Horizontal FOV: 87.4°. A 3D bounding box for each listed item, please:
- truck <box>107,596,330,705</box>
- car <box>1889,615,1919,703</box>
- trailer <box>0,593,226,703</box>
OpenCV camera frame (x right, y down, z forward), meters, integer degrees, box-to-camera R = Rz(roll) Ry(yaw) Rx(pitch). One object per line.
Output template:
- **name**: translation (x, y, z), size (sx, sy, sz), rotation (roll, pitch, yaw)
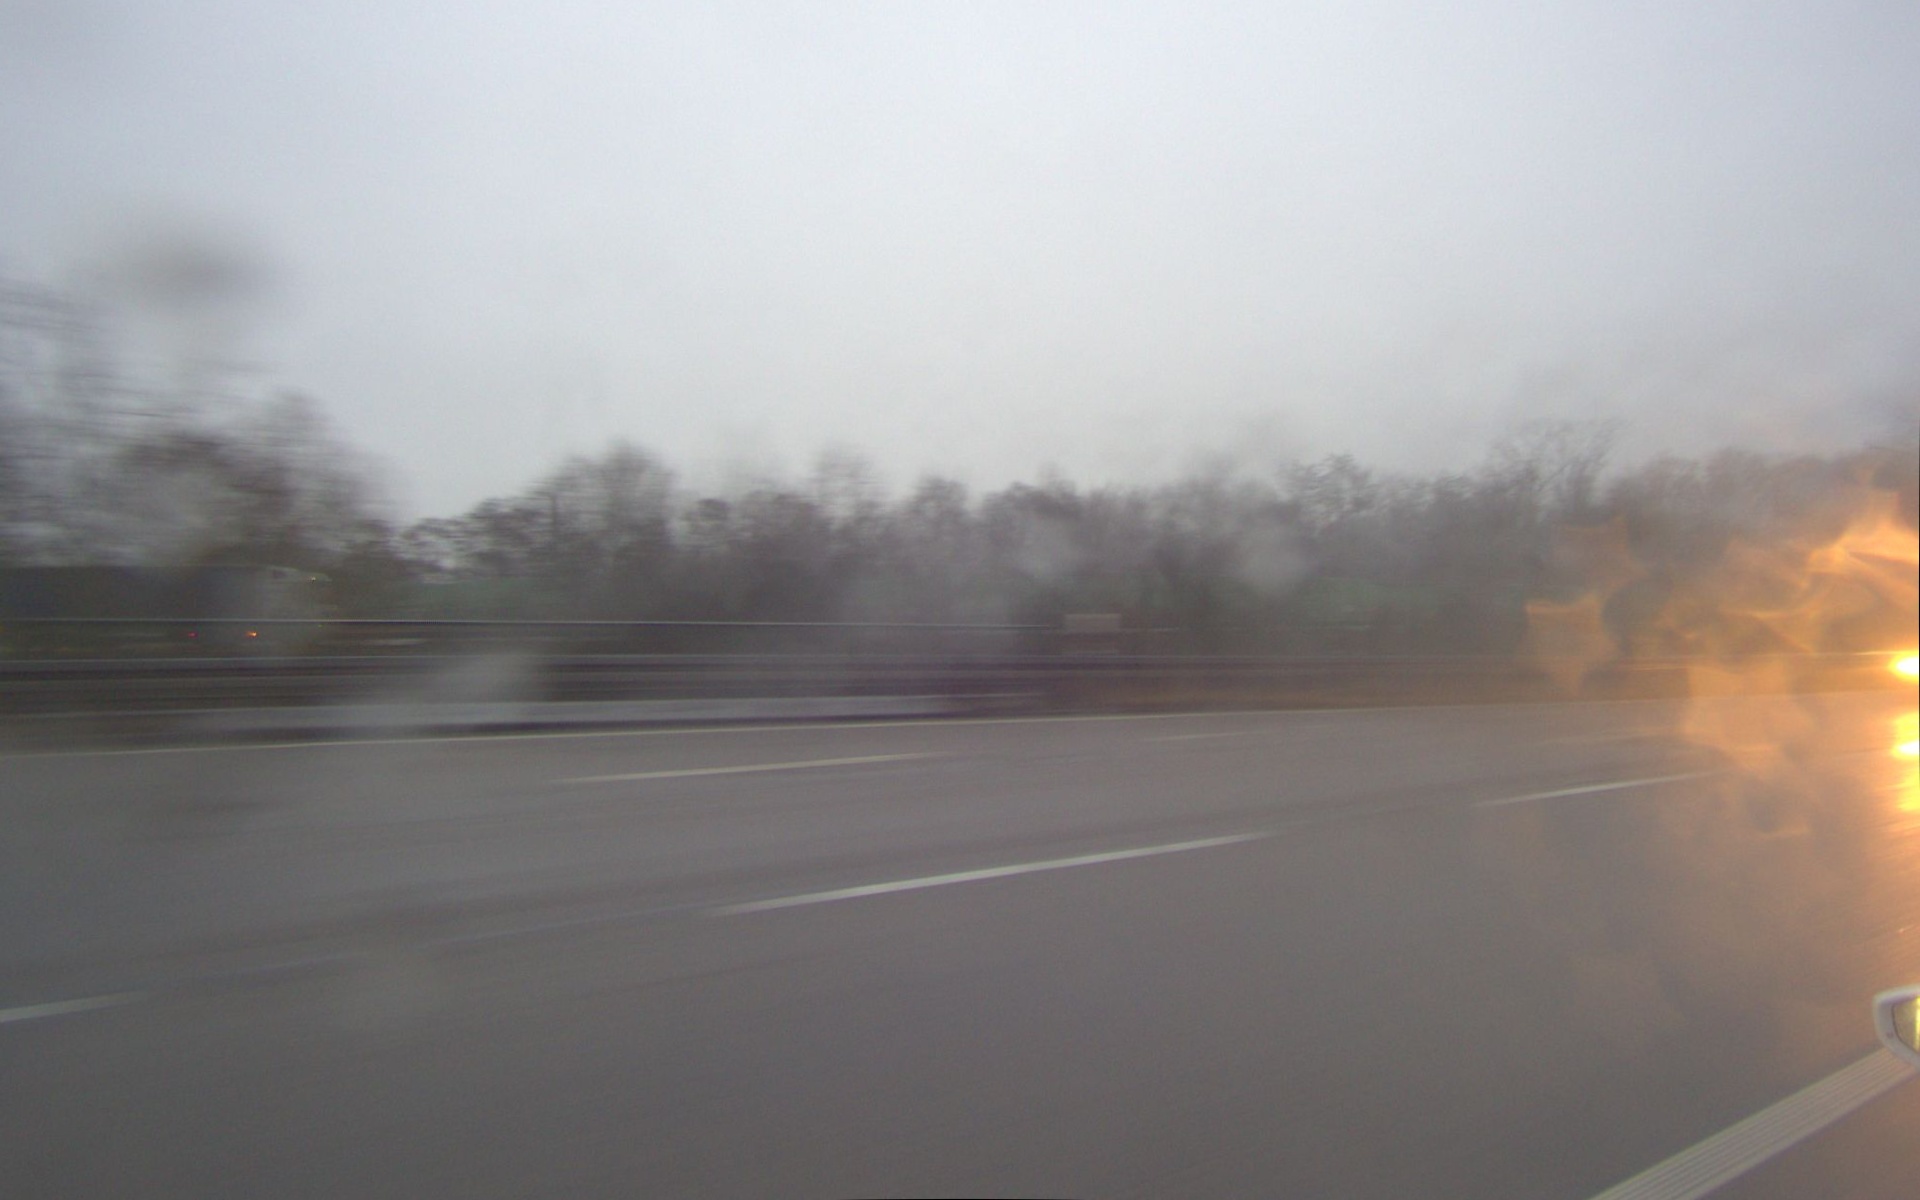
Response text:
- **truck**: translation (-37.396, 2.557, 51.041), size (8.366, 5.197, 3.280), rotation (2, -1, -10)
- **car**: translation (18.822, 1.066, 18.004), size (4.389, 1.492, 1.630), rotation (0, 3, -26)
- **trailer**: translation (-44.578, 2.320, 49.765), size (12.990, 5.171, 3.307), rotation (2, -1, -10)
